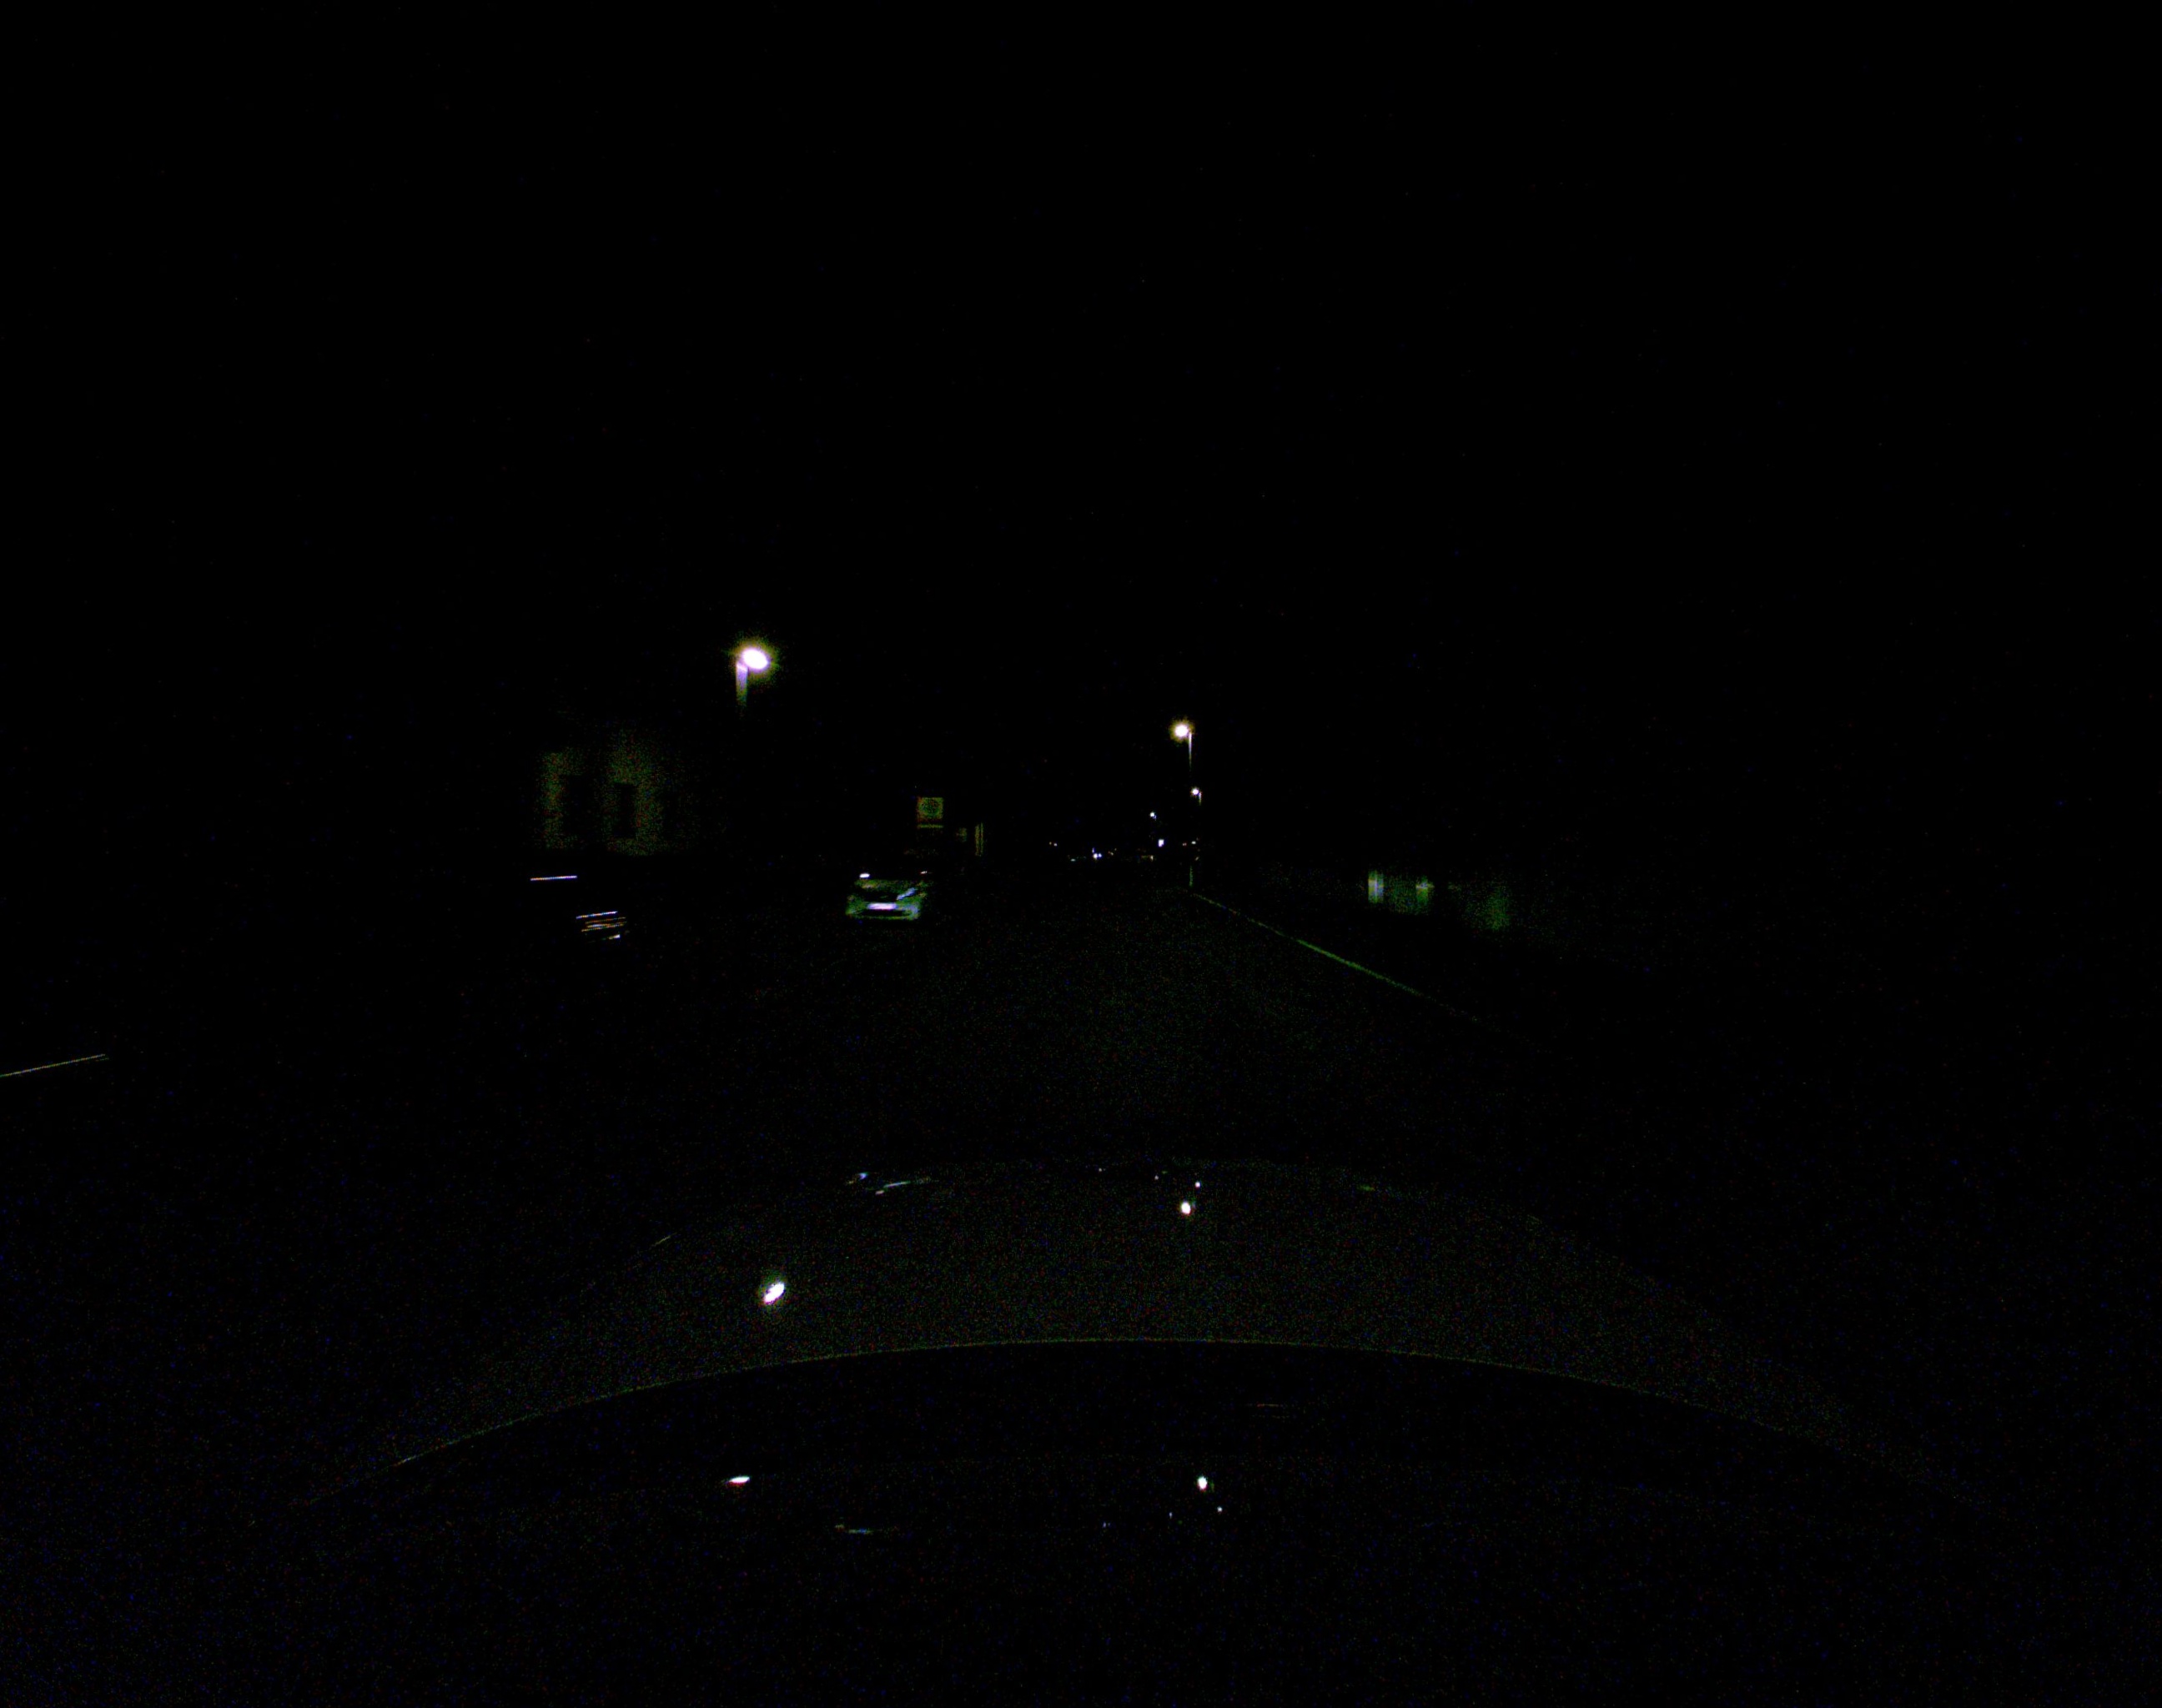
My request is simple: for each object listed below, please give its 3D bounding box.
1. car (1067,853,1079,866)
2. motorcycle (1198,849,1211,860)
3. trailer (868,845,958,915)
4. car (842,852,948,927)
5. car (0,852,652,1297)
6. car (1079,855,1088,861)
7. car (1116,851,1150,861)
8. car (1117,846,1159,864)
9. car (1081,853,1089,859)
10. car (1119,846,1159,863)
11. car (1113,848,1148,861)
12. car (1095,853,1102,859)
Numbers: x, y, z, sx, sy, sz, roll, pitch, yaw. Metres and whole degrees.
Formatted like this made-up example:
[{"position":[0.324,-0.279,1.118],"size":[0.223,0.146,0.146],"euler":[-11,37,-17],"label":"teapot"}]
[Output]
[{"position":[-1.234,0.896,128.671],"size":[1.819,1.986,4.465],"euler":[1,0,0],"label":"car"},{"position":[16.813,0.072,110.628],"size":[1.060,1.327,2.722],"euler":[-1,1,25],"label":"motorcycle"},{"position":[-4.427,0.651,21.928],"size":[1.441,1.688,3.430],"euler":[2,0,4],"label":"trailer"},{"position":[-4.176,0.749,18.698],"size":[1.666,1.522,2.978],"euler":[2,0,0],"label":"car"},{"position":[-4.548,0.757,4.699],"size":[1.760,1.519,4.280],"euler":[0,0,1],"label":"car"},{"position":[0.545,0.783,160.755],"size":[1.677,1.331,3.599],"euler":[-1,0,0],"label":"car"},{"position":[8.087,0.309,126.859],"size":[5.166,1.469,2.101],"euler":[-2,0,0],"label":"car"},{"position":[7.289,0.137,104.811],"size":[5.166,2.013,2.101],"euler":[-2,0,0],"label":"car"},{"position":[0.812,0.493,177.562],"size":[1.677,1.331,3.599],"euler":[-1,0,0],"label":"car"},{"position":[7.641,0.091,107.871],"size":[5.166,2.013,2.101],"euler":[-2,0,0],"label":"car"},{"position":[7.862,0.089,129.583],"size":[5.149,1.887,2.108],"euler":[-2,0,10],"label":"car"},{"position":[5.182,0.549,242.319],"size":[1.921,1.648,3.821],"euler":[-2,0,0],"label":"car"}]
